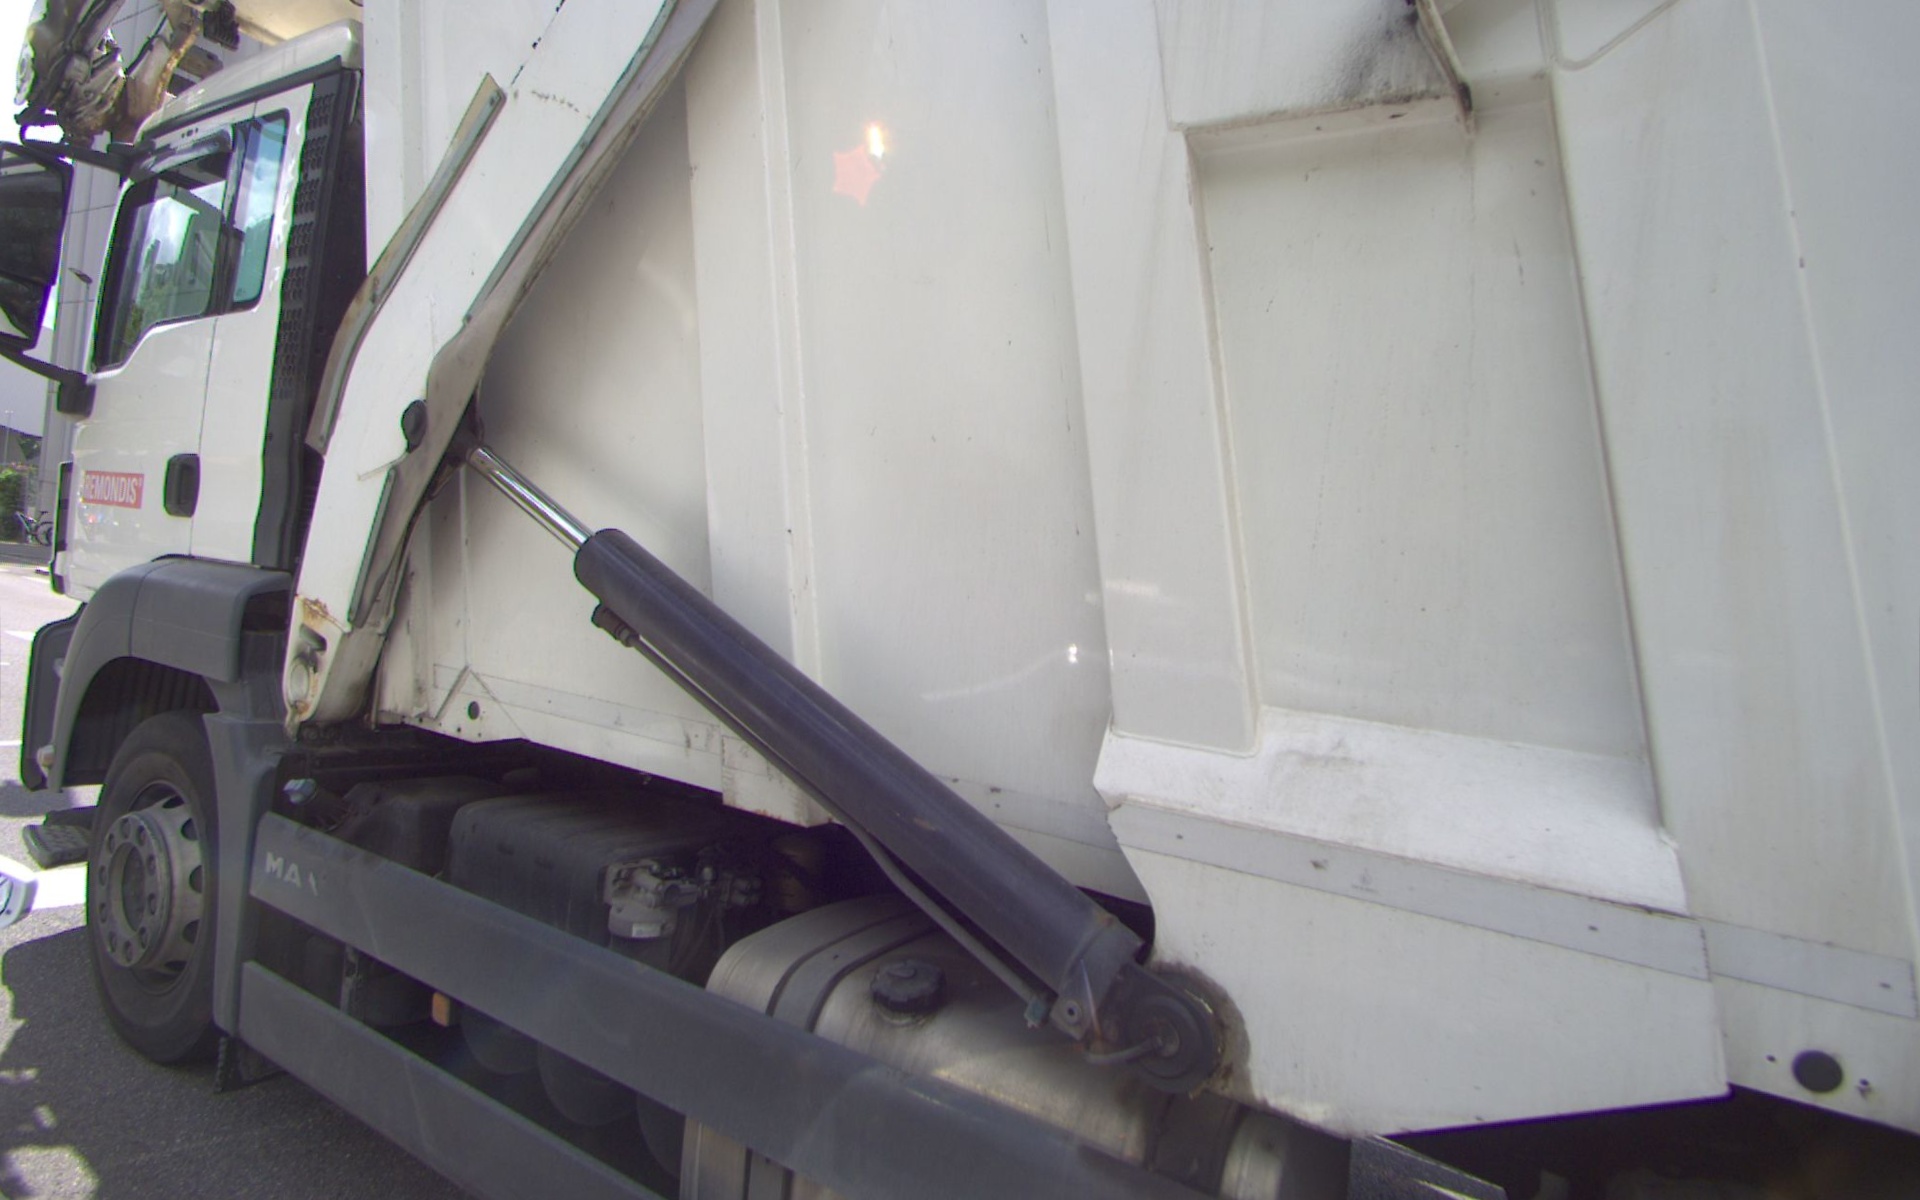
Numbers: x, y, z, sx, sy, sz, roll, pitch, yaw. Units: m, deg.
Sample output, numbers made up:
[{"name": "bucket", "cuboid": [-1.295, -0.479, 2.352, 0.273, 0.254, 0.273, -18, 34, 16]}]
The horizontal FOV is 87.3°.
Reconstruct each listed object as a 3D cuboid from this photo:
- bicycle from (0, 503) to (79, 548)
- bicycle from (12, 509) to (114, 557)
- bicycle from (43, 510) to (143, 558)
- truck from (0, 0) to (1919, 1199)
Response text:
[{"name": "bicycle", "cuboid": [-28.923, -2.346, 31.260, 2.196, 1.099, 0.474, 8, -2, -23]}, {"name": "bicycle", "cuboid": [-27.587, -2.047, 30.974, 2.196, 1.099, 0.474, 8, -2, -23]}, {"name": "bicycle", "cuboid": [-26.542, -2.003, 30.839, 2.166, 1.099, 0.474, 8, -2, -23]}, {"name": "truck", "cuboid": [1.501, -0.251, 1.892, 10.004, 3.958, 2.494, 6, -2, 31]}]
